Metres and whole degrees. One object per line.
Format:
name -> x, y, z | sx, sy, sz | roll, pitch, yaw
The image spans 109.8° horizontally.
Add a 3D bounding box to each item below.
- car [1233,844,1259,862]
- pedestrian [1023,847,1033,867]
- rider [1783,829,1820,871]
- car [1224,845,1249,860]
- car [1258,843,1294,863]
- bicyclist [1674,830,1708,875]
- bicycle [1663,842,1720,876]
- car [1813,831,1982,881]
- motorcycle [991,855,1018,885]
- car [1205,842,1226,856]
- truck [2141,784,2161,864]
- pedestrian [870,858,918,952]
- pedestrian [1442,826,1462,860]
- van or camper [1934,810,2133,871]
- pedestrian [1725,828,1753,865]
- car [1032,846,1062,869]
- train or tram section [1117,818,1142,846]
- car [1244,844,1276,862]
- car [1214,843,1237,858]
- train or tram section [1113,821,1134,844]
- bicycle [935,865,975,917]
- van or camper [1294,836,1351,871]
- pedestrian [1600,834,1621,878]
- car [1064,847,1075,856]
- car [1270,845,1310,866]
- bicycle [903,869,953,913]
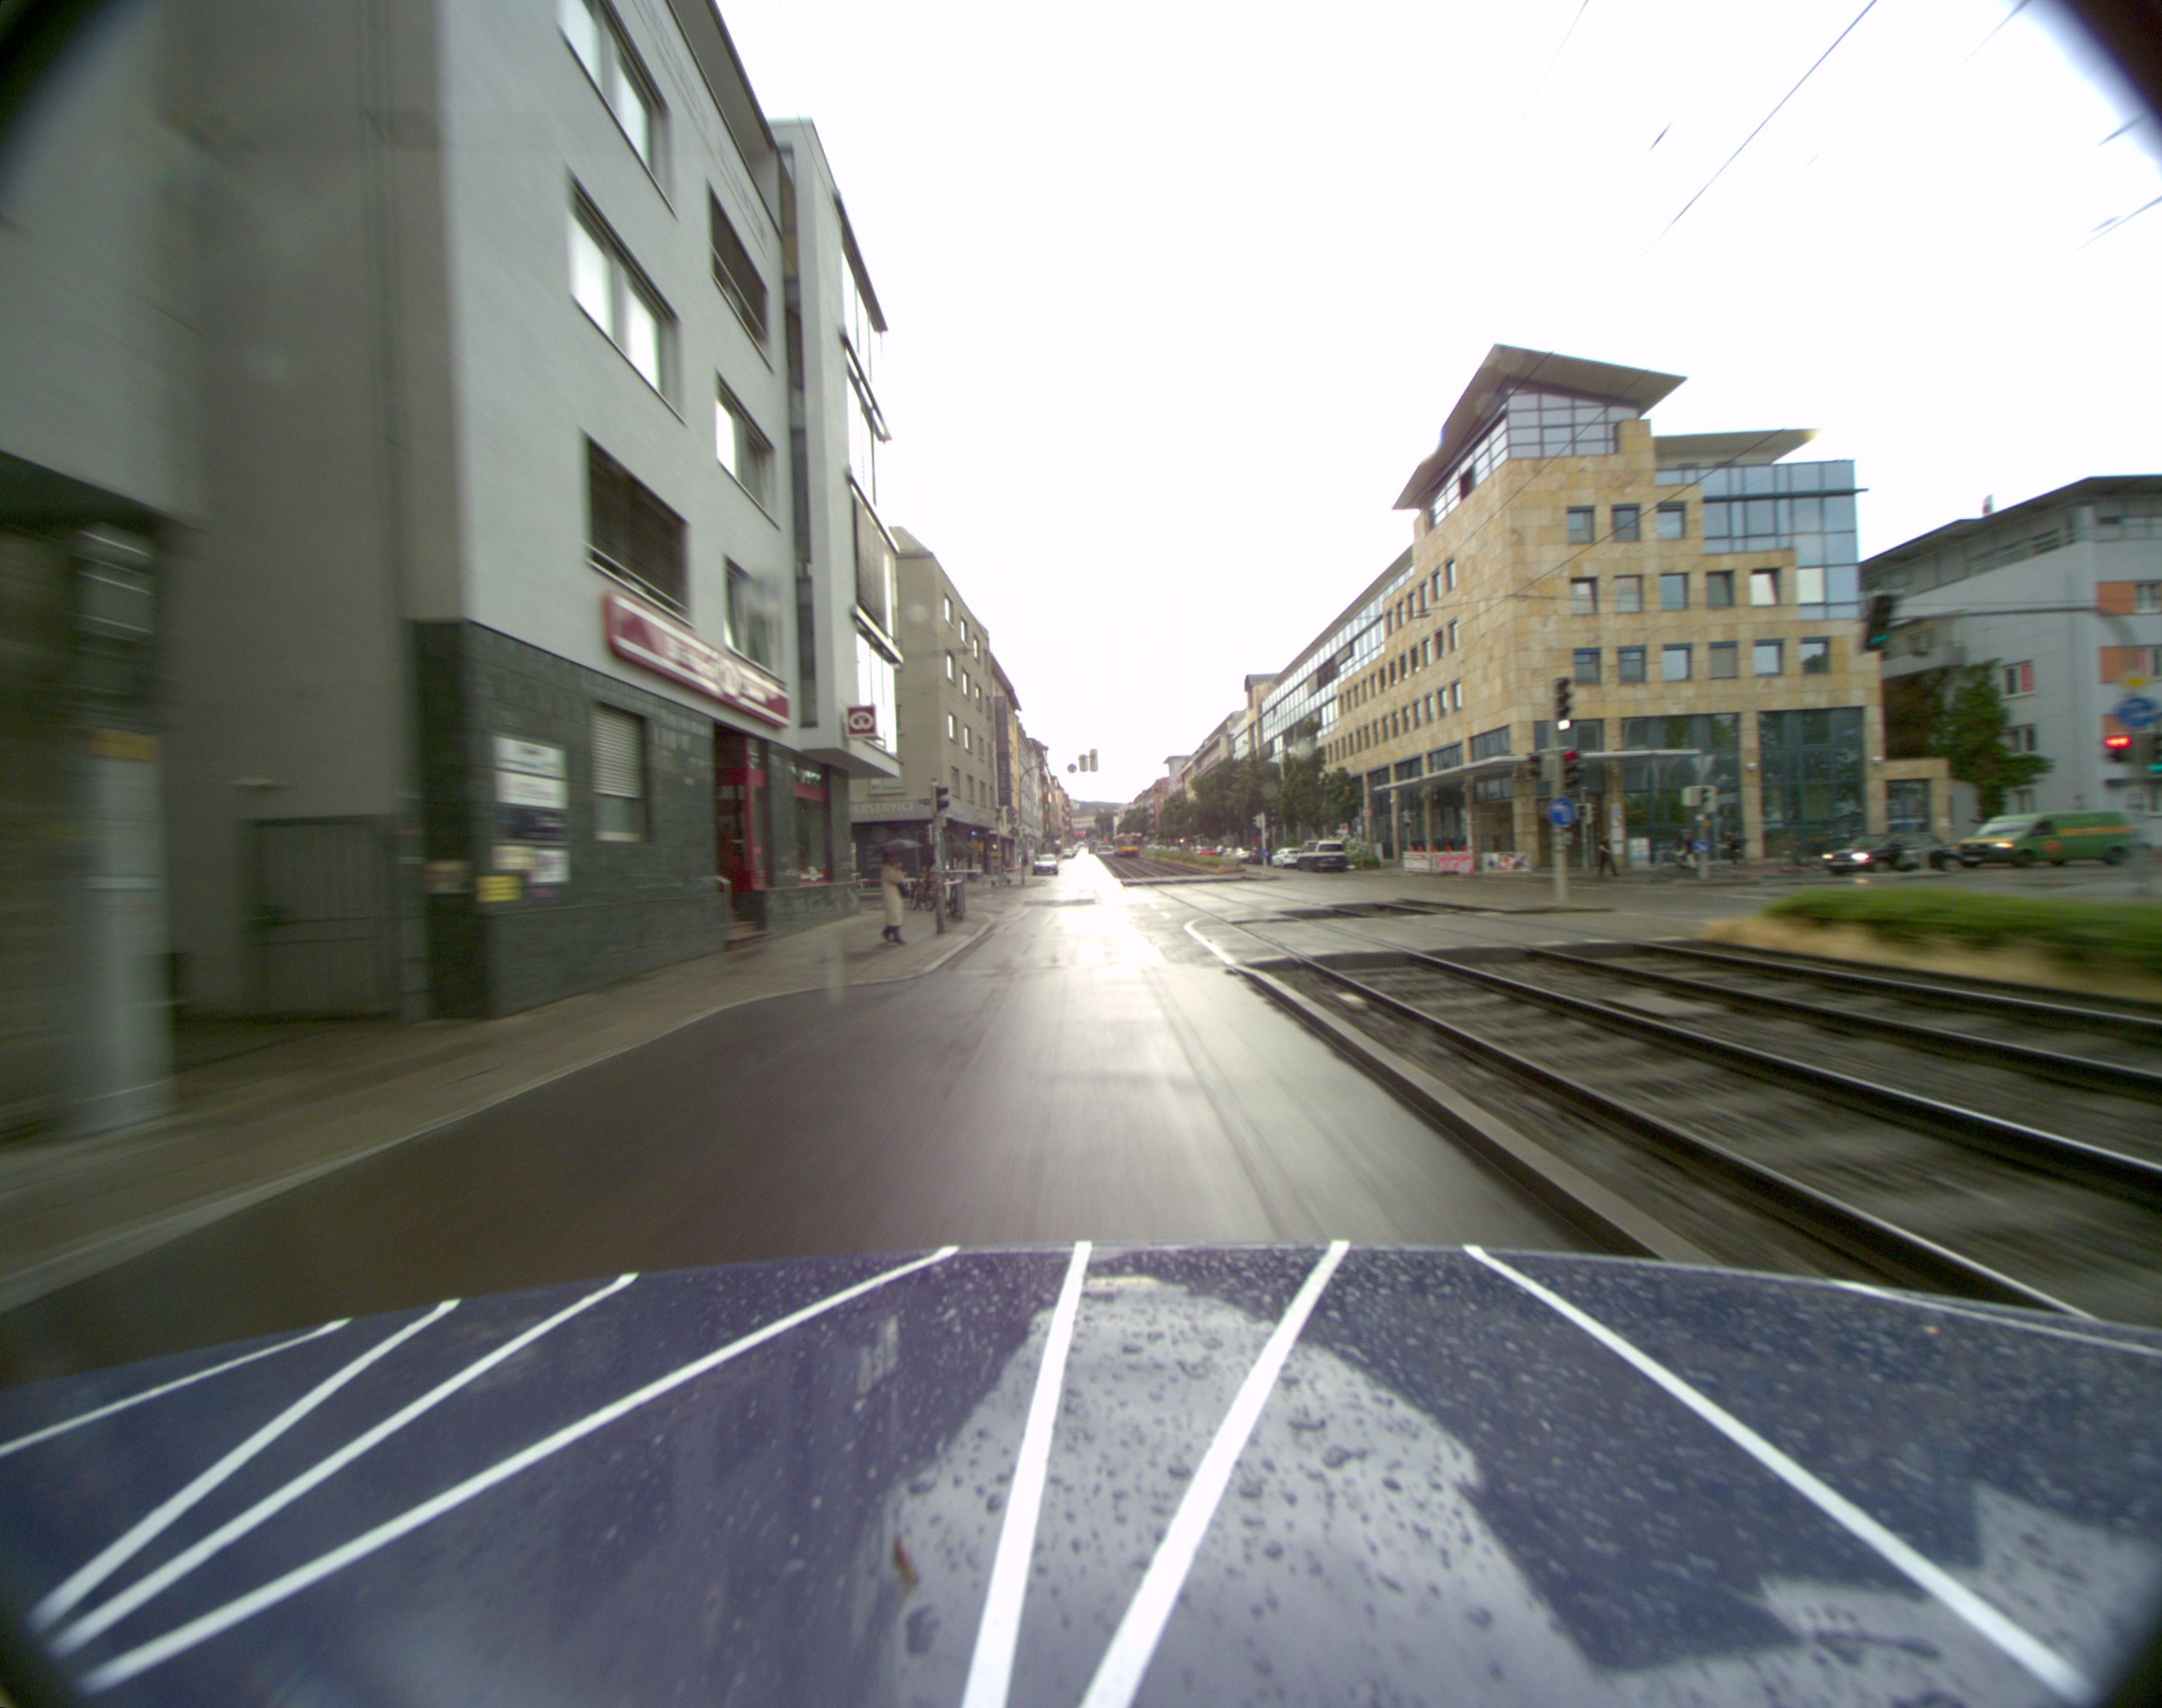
car -> 15.451, -0.112, 71.333 | 1.653, 1.489, 4.192 | -2, 1, 1
pedestrian -> -4.640, 0.241, 66.535 | 0.793, 1.650, 0.721 | -3, 2, 0
rider -> 29.438, -0.164, 31.061 | 0.710, 1.666, 0.784 | -3, 1, 0
car -> 15.641, -0.171, 76.668 | 1.653, 1.489, 4.292 | -2, 1, 1
car -> 15.798, -0.082, 61.725 | 1.693, 1.477, 4.295 | -3, 0, -1
bicyclist -> 24.783, -0.059, 30.881 | 0.710, 1.794, 0.784 | -3, 1, 0
bicycle -> 24.816, 0.207, 30.888 | 1.768, 1.303, 0.660 | -3, 1, 0
car -> 28.802, 0.075, 26.884 | 3.998, 1.521, 1.890 | -3, 0, -2
motorcycle -> -3.872, 0.794, 38.373 | 1.134, 1.453, 0.682 | -3, 2, -36
car -> 15.782, -0.561, 89.148 | 1.653, 1.532, 4.621 | -2, 1, 1
truck -> 46.201, -1.340, 29.333 | 7.167, 3.145, 2.461 | -3, 1, -1
pedestrian -> -3.292, 0.865, 13.330 | 0.662, 1.573, 0.778 | -2, 1, -21
pedestrian -> 19.766, -0.580, 40.499 | 0.703, 1.804, 0.679 | -3, 1, 3
van or camper -> 36.882, -0.513, 29.537 | 5.095, 2.050, 2.096 | -3, 0, 0
pedestrian -> 29.433, -0.327, 33.978 | 0.580, 1.627, 0.703 | -3, 1, 1
car -> -2.507, 0.214, 57.590 | 2.029, 1.585, 4.619 | -2, 1, 0
train or tram section -> 7.754, -3.534, 123.654 | 2.909, 4.027, 18.762 | -2, 2, 1
car -> 15.618, -0.067, 66.419 | 1.693, 1.477, 3.999 | -3, 0, -1
car -> 15.620, -0.398, 82.293 | 1.653, 1.592, 4.292 | -2, 1, 1
train or tram section -> 7.895, -4.002, 142.335 | 2.909, 4.027, 18.406 | -2, 2, 1
bicycle -> -3.310, 0.941, 19.825 | 0.499, 1.251, 1.952 | -3, 1, -24
van or camper -> 15.276, -0.107, 48.408 | 2.022, 1.986, 5.196 | -3, 2, 1
pedestrian -> 21.867, 0.078, 31.383 | 0.677, 1.771, 0.705 | -2, 1, 35
car -> -1.860, -0.422, 124.467 | 1.653, 1.489, 4.067 | -2, 1, 1
car -> 15.361, 0.098, 56.044 | 1.693, 1.477, 4.255 | -3, 0, -1
bicycle -> -4.395, 1.030, 21.730 | 0.579, 1.151, 1.951 | -4, 1, -36
